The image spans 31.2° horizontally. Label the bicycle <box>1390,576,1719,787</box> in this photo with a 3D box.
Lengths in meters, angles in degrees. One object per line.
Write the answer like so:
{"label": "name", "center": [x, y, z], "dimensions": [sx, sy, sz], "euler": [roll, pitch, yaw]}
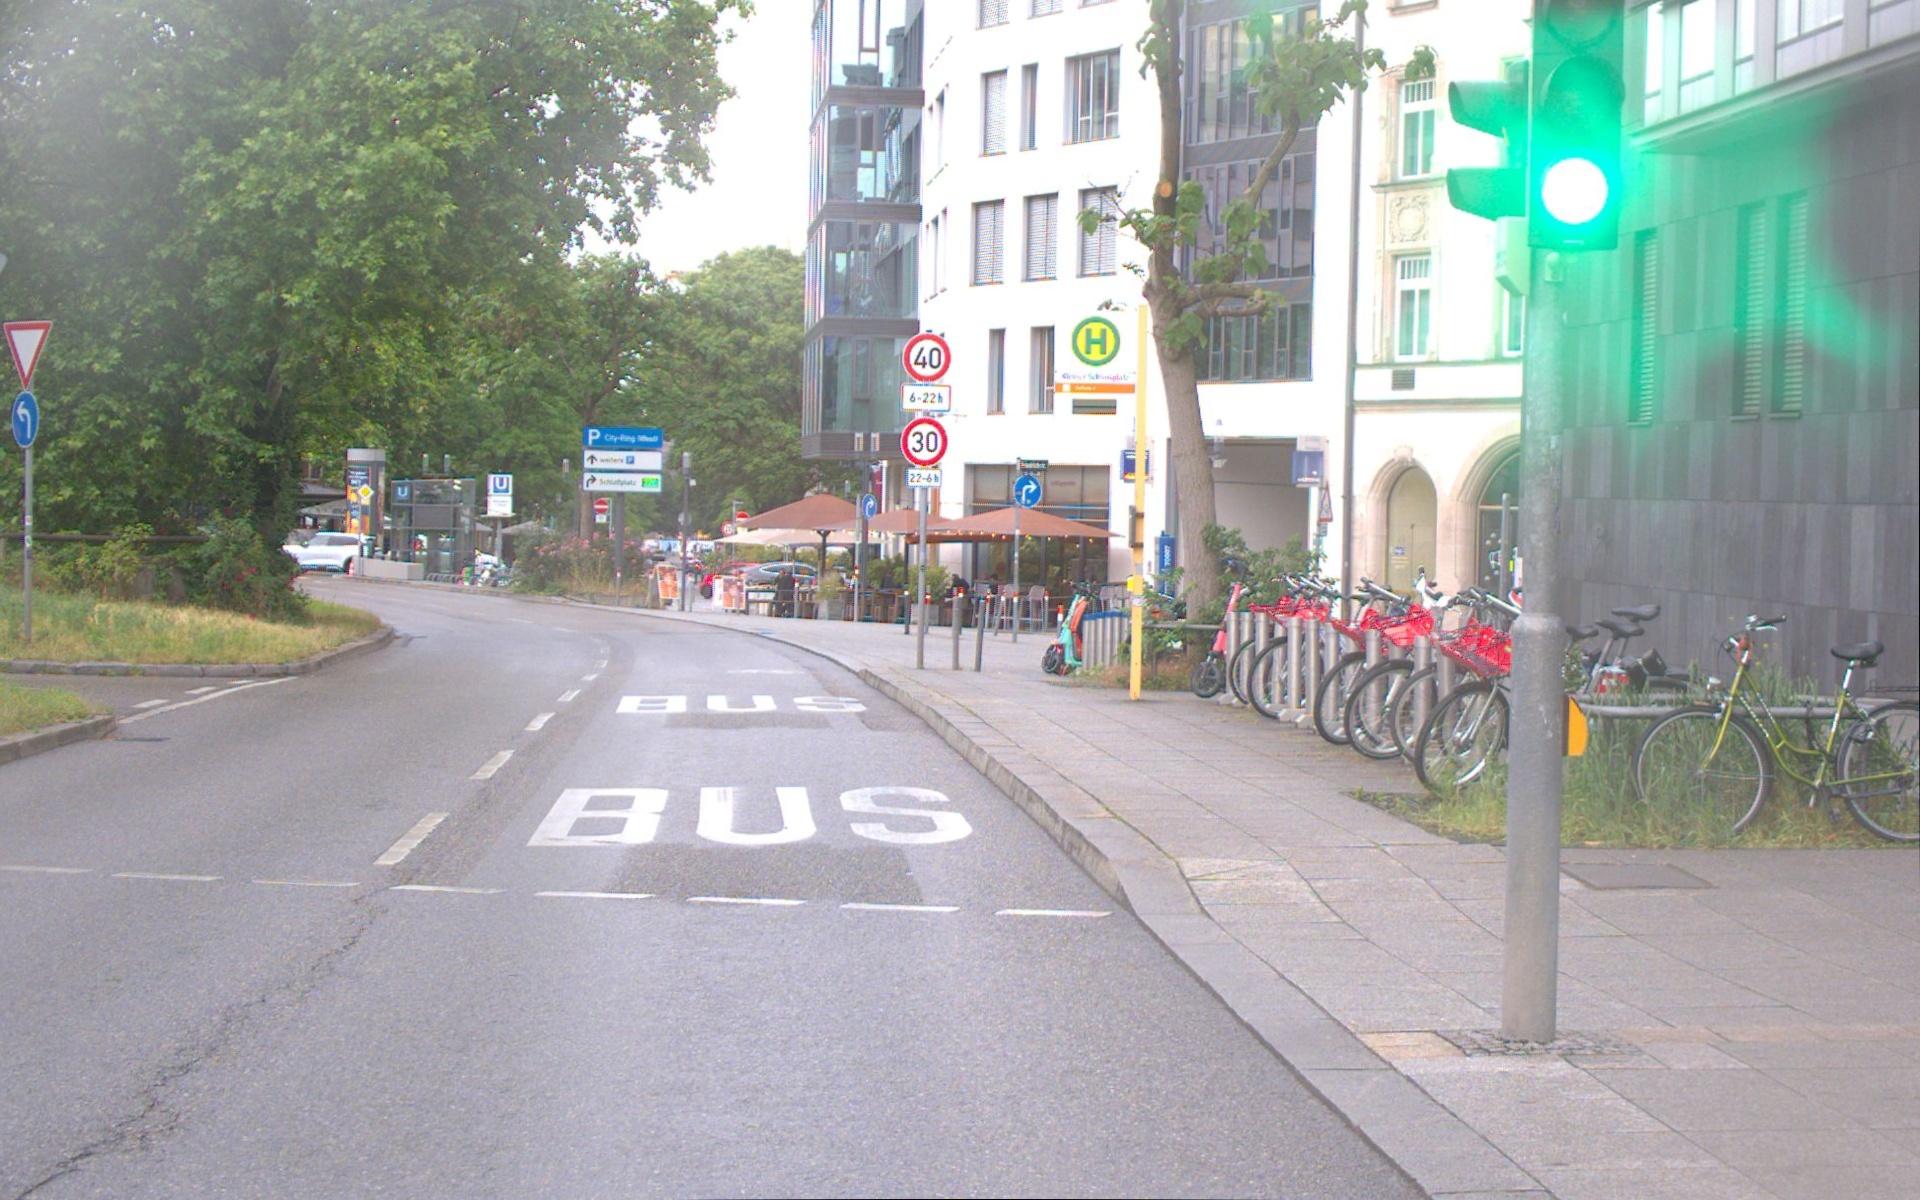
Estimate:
{"label": "bicycle", "center": [3.428, 0.464, 19.865], "dimensions": [1.729, 1.179, 0.689], "euler": [0, 1, -10]}

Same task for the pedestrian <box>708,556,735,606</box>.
{"label": "pedestrian", "center": [-6.501, -0.511, 93.682], "dimensions": [0.606, 1.322, 0.568], "euler": [4, 0, -8]}

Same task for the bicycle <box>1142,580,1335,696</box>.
{"label": "bicycle", "center": [2.775, 0.378, 34.333], "dimensions": [1.794, 1.064, 0.556], "euler": [3, -1, -9]}

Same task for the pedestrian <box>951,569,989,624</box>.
{"label": "pedestrian", "center": [0.251, -0.080, 86.094], "dimensions": [0.626, 1.322, 0.636], "euler": [4, 0, -29]}

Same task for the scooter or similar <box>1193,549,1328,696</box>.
{"label": "scooter or similar", "center": [2.620, 0.197, 30.005], "dimensions": [1.105, 1.253, 0.302], "euler": [1, 0, -11]}

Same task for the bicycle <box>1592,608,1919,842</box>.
{"label": "bicycle", "center": [3.966, 0.585, 16.397], "dimensions": [1.729, 1.066, 0.689], "euler": [0, 1, -10]}

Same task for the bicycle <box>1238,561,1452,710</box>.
{"label": "bicycle", "center": [3.045, 0.283, 27.270], "dimensions": [1.534, 1.136, 0.689], "euler": [1, 0, -10]}

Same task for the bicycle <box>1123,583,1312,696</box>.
{"label": "bicycle", "center": [2.629, 0.400, 35.137], "dimensions": [1.794, 1.064, 0.556], "euler": [3, -1, -9]}

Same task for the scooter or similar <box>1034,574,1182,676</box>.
{"label": "scooter or similar", "center": [1.916, 0.323, 44.610], "dimensions": [1.791, 1.239, 0.596], "euler": [3, -1, -9]}

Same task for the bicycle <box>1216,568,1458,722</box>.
{"label": "bicycle", "center": [2.890, 0.347, 26.437], "dimensions": [1.705, 1.136, 0.689], "euler": [1, 0, -10]}

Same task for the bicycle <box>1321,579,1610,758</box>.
{"label": "bicycle", "center": [3.304, 0.441, 22.532], "dimensions": [1.729, 1.136, 0.689], "euler": [0, 1, -10]}

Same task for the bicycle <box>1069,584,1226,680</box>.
{"label": "bicycle", "center": [2.316, 0.395, 42.544], "dimensions": [1.794, 1.104, 0.670], "euler": [3, -1, -10]}

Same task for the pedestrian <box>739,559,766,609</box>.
{"label": "pedestrian", "center": [-5.668, -0.449, 93.819], "dimensions": [0.606, 1.322, 0.568], "euler": [4, 0, -8]}

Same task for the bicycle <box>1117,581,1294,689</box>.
{"label": "bicycle", "center": [2.698, 0.383, 37.885], "dimensions": [1.794, 1.104, 0.670], "euler": [3, -1, -10]}

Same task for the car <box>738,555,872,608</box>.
{"label": "car", "center": [-5.628, -0.666, 124.450], "dimensions": [4.734, 1.685, 2.005], "euler": [2, 1, -5]}

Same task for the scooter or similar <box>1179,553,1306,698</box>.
{"label": "scooter or similar", "center": [2.494, 0.230, 30.359], "dimensions": [1.060, 1.253, 0.302], "euler": [1, 0, -11]}

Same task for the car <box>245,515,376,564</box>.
{"label": "car", "center": [-24.036, -2.233, 127.222], "dimensions": [4.332, 1.660, 1.952], "euler": [2, 0, 8]}

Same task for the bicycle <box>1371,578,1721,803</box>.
{"label": "bicycle", "center": [3.172, 0.479, 18.663], "dimensions": [1.729, 1.179, 0.689], "euler": [0, 1, -10]}

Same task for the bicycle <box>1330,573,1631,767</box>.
{"label": "bicycle", "center": [3.262, 0.433, 21.612], "dimensions": [1.729, 1.179, 0.689], "euler": [0, 1, -10]}

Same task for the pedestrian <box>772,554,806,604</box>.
{"label": "pedestrian", "center": [-4.762, -0.588, 95.746], "dimensions": [0.817, 1.322, 0.636], "euler": [4, 0, -8]}

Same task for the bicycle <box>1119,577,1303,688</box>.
{"label": "bicycle", "center": [2.620, 0.340, 35.930], "dimensions": [1.794, 1.064, 0.556], "euler": [3, -1, -9]}

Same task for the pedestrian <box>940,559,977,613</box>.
{"label": "pedestrian", "center": [-0.040, -0.345, 87.381], "dimensions": [0.626, 1.322, 0.636], "euler": [4, 0, -29]}

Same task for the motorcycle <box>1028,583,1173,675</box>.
{"label": "motorcycle", "center": [1.856, 0.387, 45.581], "dimensions": [1.791, 1.136, 0.596], "euler": [3, -1, -9]}

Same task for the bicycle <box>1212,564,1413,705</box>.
{"label": "bicycle", "center": [2.957, 0.289, 28.866], "dimensions": [1.534, 1.136, 0.663], "euler": [1, 0, -10]}

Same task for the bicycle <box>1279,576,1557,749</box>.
{"label": "bicycle", "center": [3.100, 0.417, 23.328], "dimensions": [1.729, 1.136, 0.689], "euler": [0, 1, -10]}

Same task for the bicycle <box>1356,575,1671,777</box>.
{"label": "bicycle", "center": [3.322, 0.448, 20.696], "dimensions": [1.729, 1.179, 0.689], "euler": [0, 1, -10]}

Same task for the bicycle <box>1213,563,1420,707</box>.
{"label": "bicycle", "center": [2.902, 0.284, 28.040], "dimensions": [1.534, 1.136, 0.689], "euler": [1, 0, -10]}

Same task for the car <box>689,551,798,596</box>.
{"label": "car", "center": [-8.313, -1.018, 131.708], "dimensions": [3.997, 1.505, 1.796], "euler": [4, 1, 41]}

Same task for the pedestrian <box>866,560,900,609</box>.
{"label": "pedestrian", "center": [-2.157, -0.434, 96.202], "dimensions": [0.817, 1.322, 0.636], "euler": [4, 0, -8]}

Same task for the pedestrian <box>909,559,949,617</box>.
{"label": "pedestrian", "center": [-0.730, -0.283, 80.771], "dimensions": [0.773, 1.322, 0.636], "euler": [4, 0, -9]}
